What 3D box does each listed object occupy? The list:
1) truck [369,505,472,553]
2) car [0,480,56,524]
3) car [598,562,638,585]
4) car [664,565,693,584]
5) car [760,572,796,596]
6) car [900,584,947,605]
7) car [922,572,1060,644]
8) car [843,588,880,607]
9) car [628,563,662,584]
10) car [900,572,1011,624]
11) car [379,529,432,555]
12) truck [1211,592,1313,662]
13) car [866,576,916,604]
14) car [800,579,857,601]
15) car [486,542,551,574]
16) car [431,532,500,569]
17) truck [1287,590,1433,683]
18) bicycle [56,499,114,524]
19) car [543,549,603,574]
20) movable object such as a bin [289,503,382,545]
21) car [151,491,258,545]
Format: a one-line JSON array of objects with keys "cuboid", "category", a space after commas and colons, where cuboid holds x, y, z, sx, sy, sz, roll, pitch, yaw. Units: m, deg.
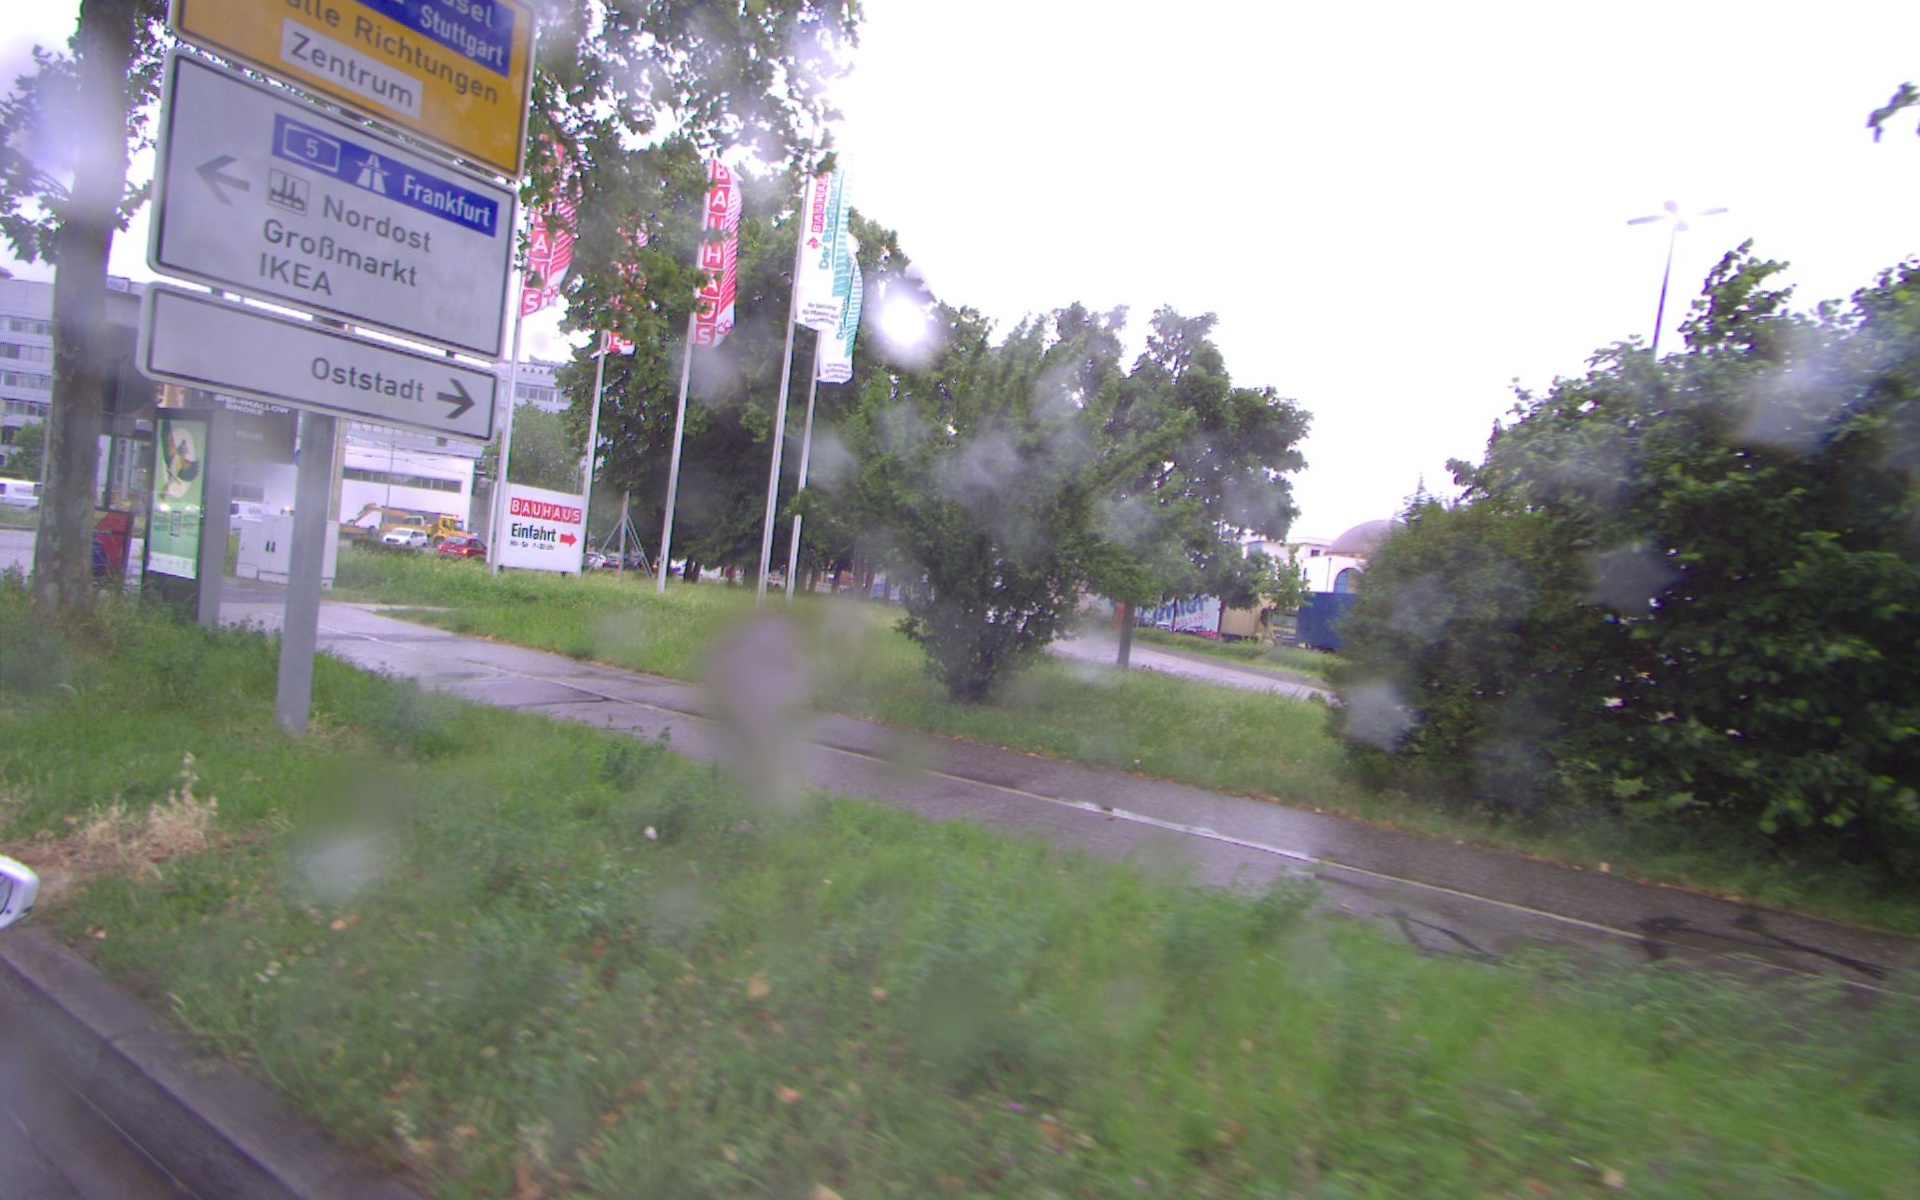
[{"cuboid": [-51.675, -6.761, 96.495, 7.747, 3.552, 3.325, 6, 1, -4], "category": "truck"}, {"cuboid": [-46.442, -4.901, 48.218, 1.713, 1.746, 4.236, 7, -1, 32], "category": "car"}, {"cuboid": [-28.463, -2.174, 83.798, 1.892, 1.606, 4.622, 6, 0, -3], "category": "car"}, {"cuboid": [-29.551, -2.653, 105.654, 1.892, 1.606, 4.623, 6, 0, -4], "category": "car"}, {"cuboid": [-13.771, -1.152, 76.253, 1.892, 1.509, 4.828, 6, 0, -2], "category": "car"}, {"cuboid": [-3.777, -0.558, 103.067, 4.543, 1.606, 1.926, 6, 0, -5], "category": "car"}, {"cuboid": [1.178, 0.310, 40.152, 5.015, 2.232, 2.188, 6, 1, -9], "category": "car"}, {"cuboid": [-10.343, -0.237, 105.944, 3.749, 1.509, 1.677, 7, -1, -5], "category": "car"}, {"cuboid": [-29.194, -2.451, 93.380, 1.893, 1.606, 4.622, 6, 0, -5], "category": "car"}, {"cuboid": [-0.279, -0.129, 56.878, 5.955, 2.232, 2.190, 6, 1, -3], "category": "car"}, {"cuboid": [-43.062, -4.482, 78.206, 1.744, 1.641, 4.379, 6, 0, -3], "category": "car"}, {"cuboid": [17.638, 1.516, 59.562, 2.507, 3.511, 9.397, 8, -1, -2], "category": "truck"}, {"cuboid": [-6.832, -1.017, 99.820, 4.670, 2.241, 1.964, 6, 1, -2], "category": "car"}, {"cuboid": [-14.412, -1.086, 110.284, 5.853, 1.753, 2.276, 6, 1, -3], "category": "car"}, {"cuboid": [-27.056, -2.529, 61.804, 1.892, 1.509, 4.828, 6, 0, -2], "category": "car"}, {"cuboid": [-26.292, -2.615, 53.634, 1.647, 1.508, 3.818, 7, -1, 0], "category": "car"}, {"cuboid": [17.849, 1.482, 45.619, 2.507, 3.513, 8.008, 8, 0, -4], "category": "truck"}, {"cuboid": [-48.076, -4.869, 55.289, 2.294, 1.059, 0.840, 6, 1, -39], "category": "bicycle"}, {"cuboid": [-37.697, -3.778, 98.095, 4.966, 1.674, 1.882, 7, -2, 0], "category": "car"}, {"cuboid": [-59.591, -7.202, 96.158, 6.601, 3.034, 3.325, 6, 1, -4], "category": "movable object such as a bin"}, {"cuboid": [-37.791, -4.059, 50.501, 1.964, 2.152, 4.684, 6, 0, -5], "category": "car"}]
